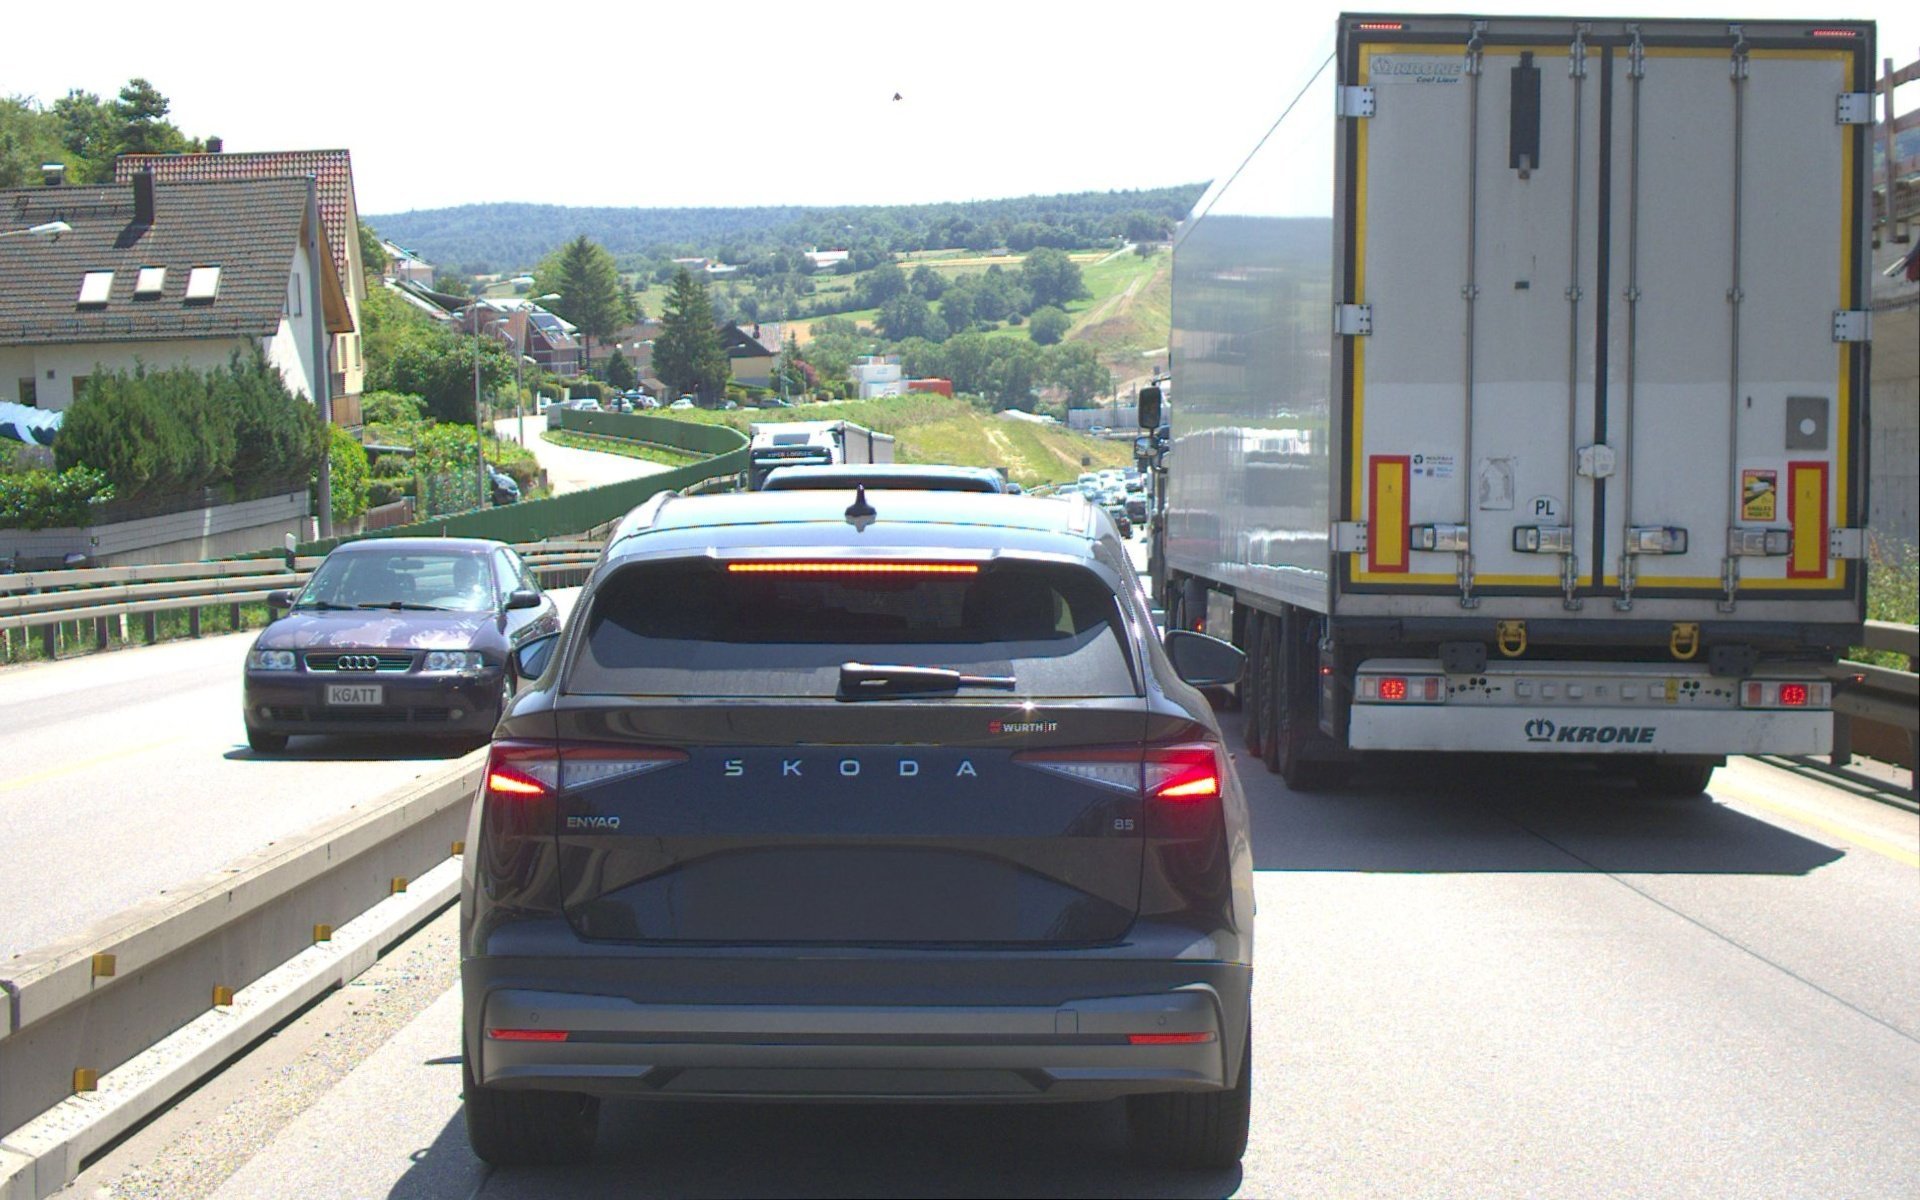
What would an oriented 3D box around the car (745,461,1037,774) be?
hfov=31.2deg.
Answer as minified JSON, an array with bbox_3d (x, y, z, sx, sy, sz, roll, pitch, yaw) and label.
[{"bbox_3d":[-0.540,0.031,22.809,1.706,1.875,4.001,1,2,-4],"label":"car"}]

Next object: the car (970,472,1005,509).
[{"bbox_3d":[1.346,-5.345,168.540,1.701,1.722,3.836,1,1,1],"label":"car"}]

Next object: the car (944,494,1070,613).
[{"bbox_3d":[0.641,-0.709,49.869,1.707,1.616,4.001,1,2,-1],"label":"car"}]

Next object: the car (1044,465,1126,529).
[{"bbox_3d":[3.212,-2.646,88.907,1.993,1.579,3.836,1,1,0],"label":"car"}]

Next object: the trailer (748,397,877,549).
[{"bbox_3d":[-4.066,-3.565,96.237,2.757,4.056,8.007,1,2,3],"label":"trailer"}]

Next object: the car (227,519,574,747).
[{"bbox_3d":[-3.782,0.163,23.876,1.718,1.403,4.000,-1,2,0],"label":"car"}]

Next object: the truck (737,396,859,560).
[{"bbox_3d":[-4.311,-3.259,92.290,2.752,4.268,4.957,1,2,3],"label":"truck"}]

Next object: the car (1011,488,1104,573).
[{"bbox_3d":[1.935,-1.415,69.106,1.707,1.616,4.001,1,2,-1],"label":"car"}]

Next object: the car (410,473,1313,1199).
[{"bbox_3d":[-0.334,0.521,9.032,1.842,1.581,3.908,1,1,-4],"label":"car"}]

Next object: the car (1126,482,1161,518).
[{"bbox_3d":[9.339,-5.079,174.898,1.701,1.722,3.836,1,1,4],"label":"car"}]

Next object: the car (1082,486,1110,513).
[{"bbox_3d":[9.046,-6.687,228.735,1.701,1.722,3.836,1,1,4],"label":"car"}]

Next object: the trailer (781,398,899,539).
[{"bbox_3d":[-3.572,-4.007,104.597,2.757,4.056,8.634,1,2,3],"label":"trailer"}]

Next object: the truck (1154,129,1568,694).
[{"bbox_3d":[3.095,-1.390,28.696,2.513,4.011,8.238,1,1,1],"label":"truck"}]

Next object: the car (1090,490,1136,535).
[{"bbox_3d":[6.160,-3.482,137.759,1.701,1.722,3.836,1,1,4],"label":"car"}]

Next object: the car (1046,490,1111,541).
[{"bbox_3d":[3.839,-2.754,112.204,1.993,1.579,3.836,1,1,0],"label":"car"}]

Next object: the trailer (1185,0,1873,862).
[{"bbox_3d":[3.044,-0.904,21.901,2.532,4.113,11.548,1,1,1],"label":"trailer"}]

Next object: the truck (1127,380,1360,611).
[{"bbox_3d":[4.271,-1.520,53.948,3.195,3.180,12.808,0,1,3],"label":"truck"}]
